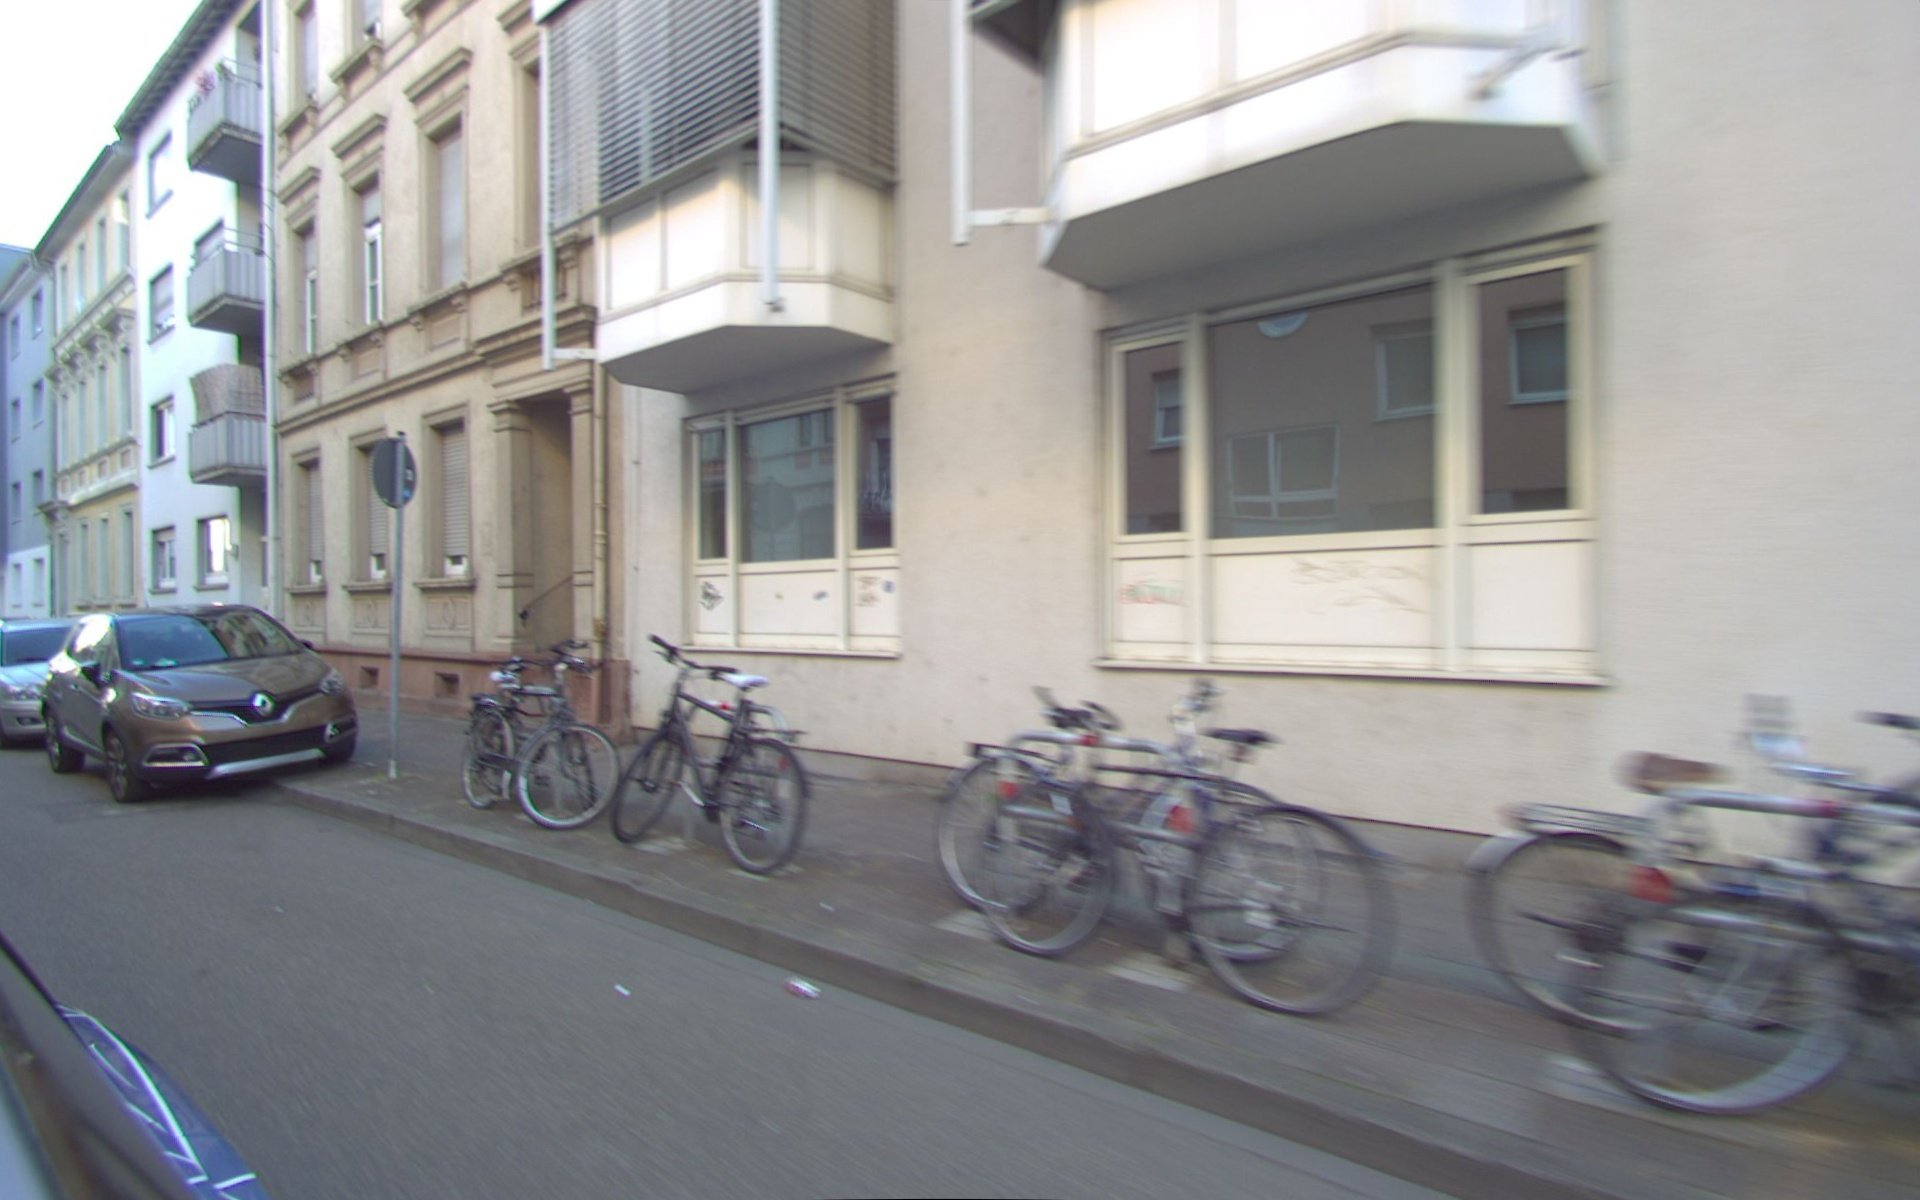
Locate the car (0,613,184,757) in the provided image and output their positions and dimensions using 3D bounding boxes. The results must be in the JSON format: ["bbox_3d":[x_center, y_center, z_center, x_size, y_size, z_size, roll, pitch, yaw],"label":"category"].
[{"bbox_3d":[-11.858,0.995,13.159,4.428,1.551,1.773,-2,-1,38],"label":"car"}]

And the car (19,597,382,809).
[{"bbox_3d":[-7.311,0.821,9.606,4.065,1.588,1.773,-2,-1,38],"label":"car"}]

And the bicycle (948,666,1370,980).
[{"bbox_3d":[0.738,0.828,4.271,1.812,1.050,0.304,-2,0,41],"label":"bicycle"}]

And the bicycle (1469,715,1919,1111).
[{"bbox_3d":[2.437,0.836,2.780,1.811,0.939,0.304,-2,-1,39],"label":"bicycle"}]

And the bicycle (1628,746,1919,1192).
[{"bbox_3d":[2.553,0.858,2.200,1.809,0.939,0.304,-2,0,35],"label":"bicycle"}]

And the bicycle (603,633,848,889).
[{"bbox_3d":[-1.365,0.810,5.637,1.812,1.232,0.304,-2,0,41],"label":"bicycle"}]

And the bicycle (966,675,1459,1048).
[{"bbox_3d":[0.819,0.839,3.755,1.812,1.050,0.304,-2,0,41],"label":"bicycle"}]

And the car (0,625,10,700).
[{"bbox_3d":[-21.153,1.315,21.016,3.785,1.500,1.622,-2,-1,40],"label":"car"}]

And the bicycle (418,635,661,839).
[{"bbox_3d":[-2.981,0.853,7.025,2.264,1.196,0.589,-2,0,41],"label":"bicycle"}]

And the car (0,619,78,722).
[{"bbox_3d":[-16.449,1.146,17.009,4.490,1.551,1.773,-2,-1,40],"label":"car"}]
